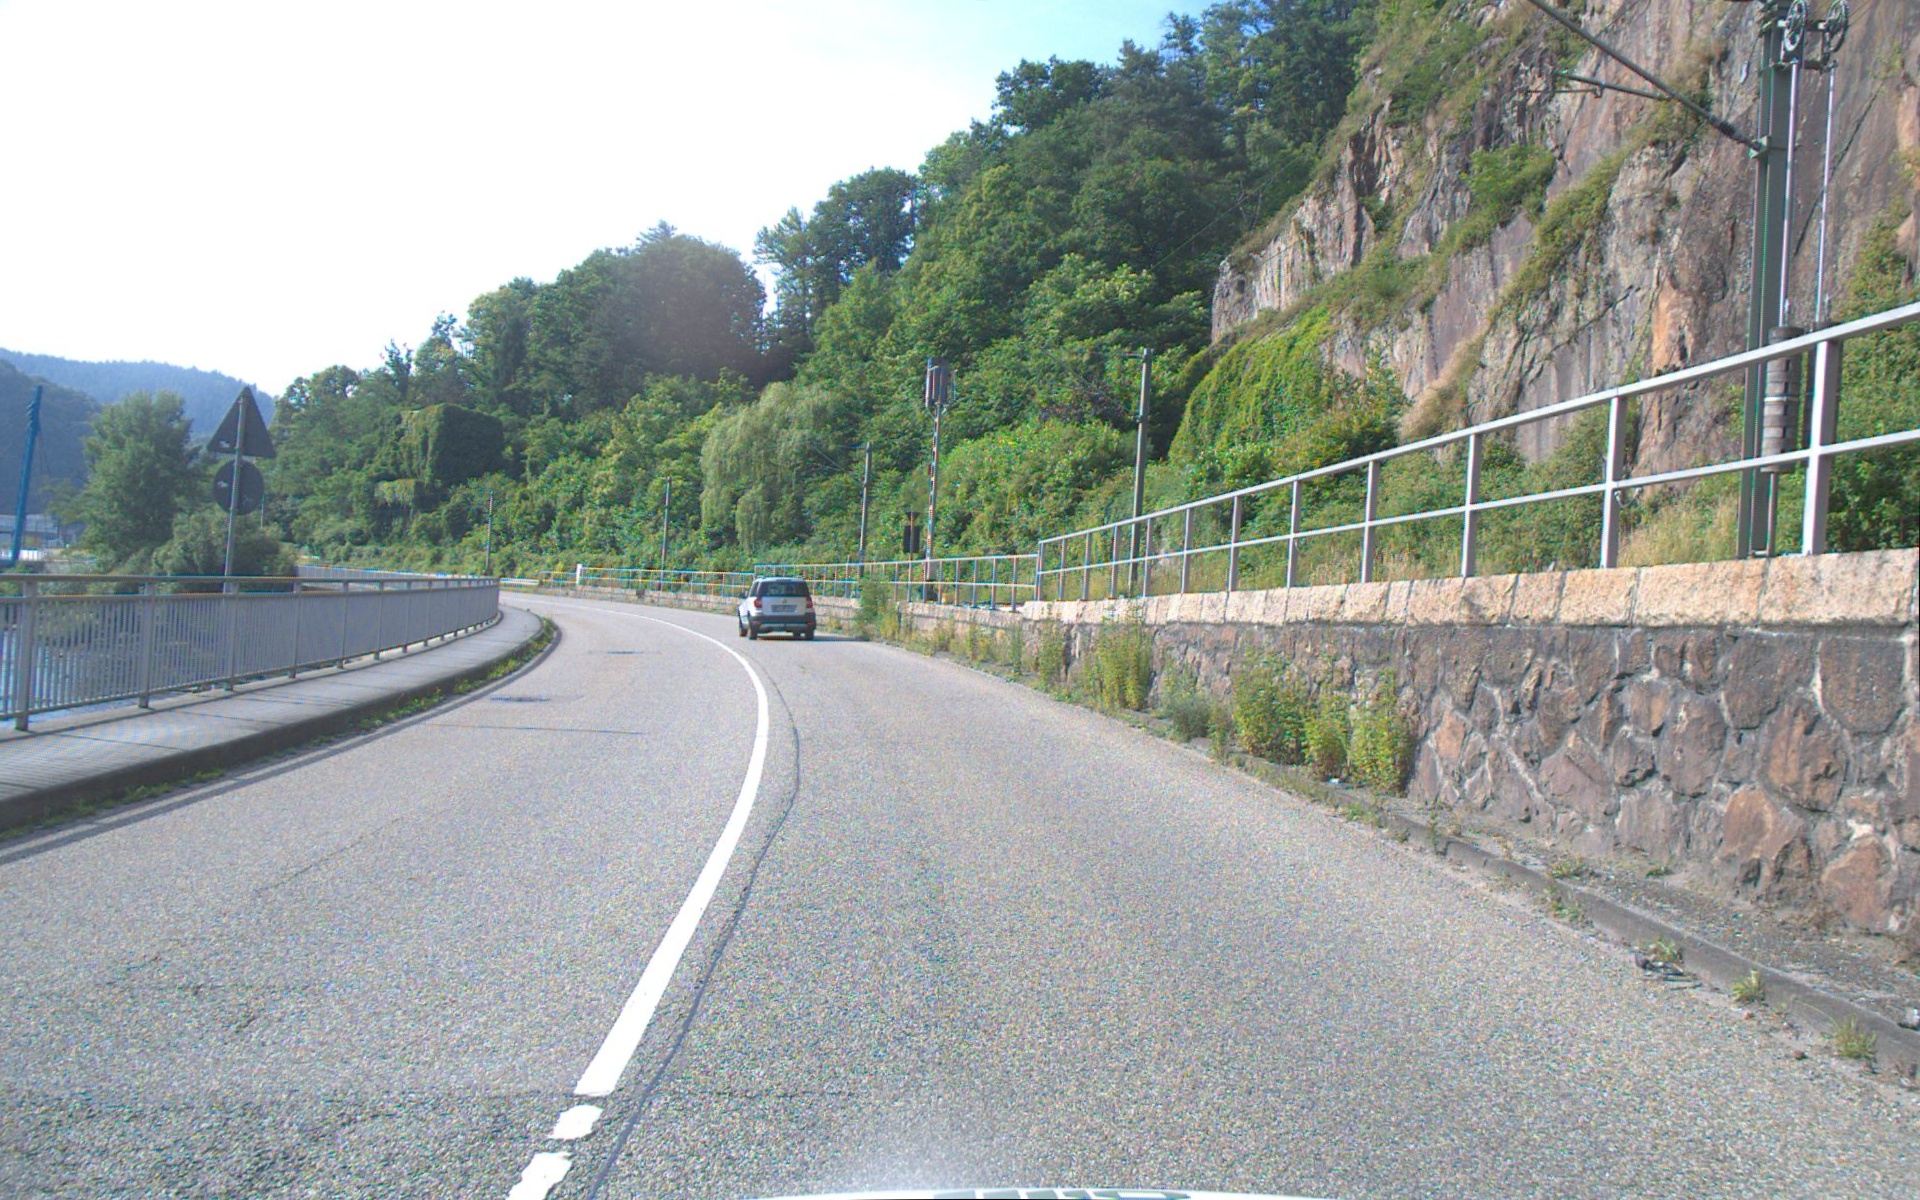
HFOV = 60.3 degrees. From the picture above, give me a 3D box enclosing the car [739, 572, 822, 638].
[{"bbox_3d":[-4.907,0.093,44.892,1.840,1.684,3.988,1,1,-12],"label":"car"}]
